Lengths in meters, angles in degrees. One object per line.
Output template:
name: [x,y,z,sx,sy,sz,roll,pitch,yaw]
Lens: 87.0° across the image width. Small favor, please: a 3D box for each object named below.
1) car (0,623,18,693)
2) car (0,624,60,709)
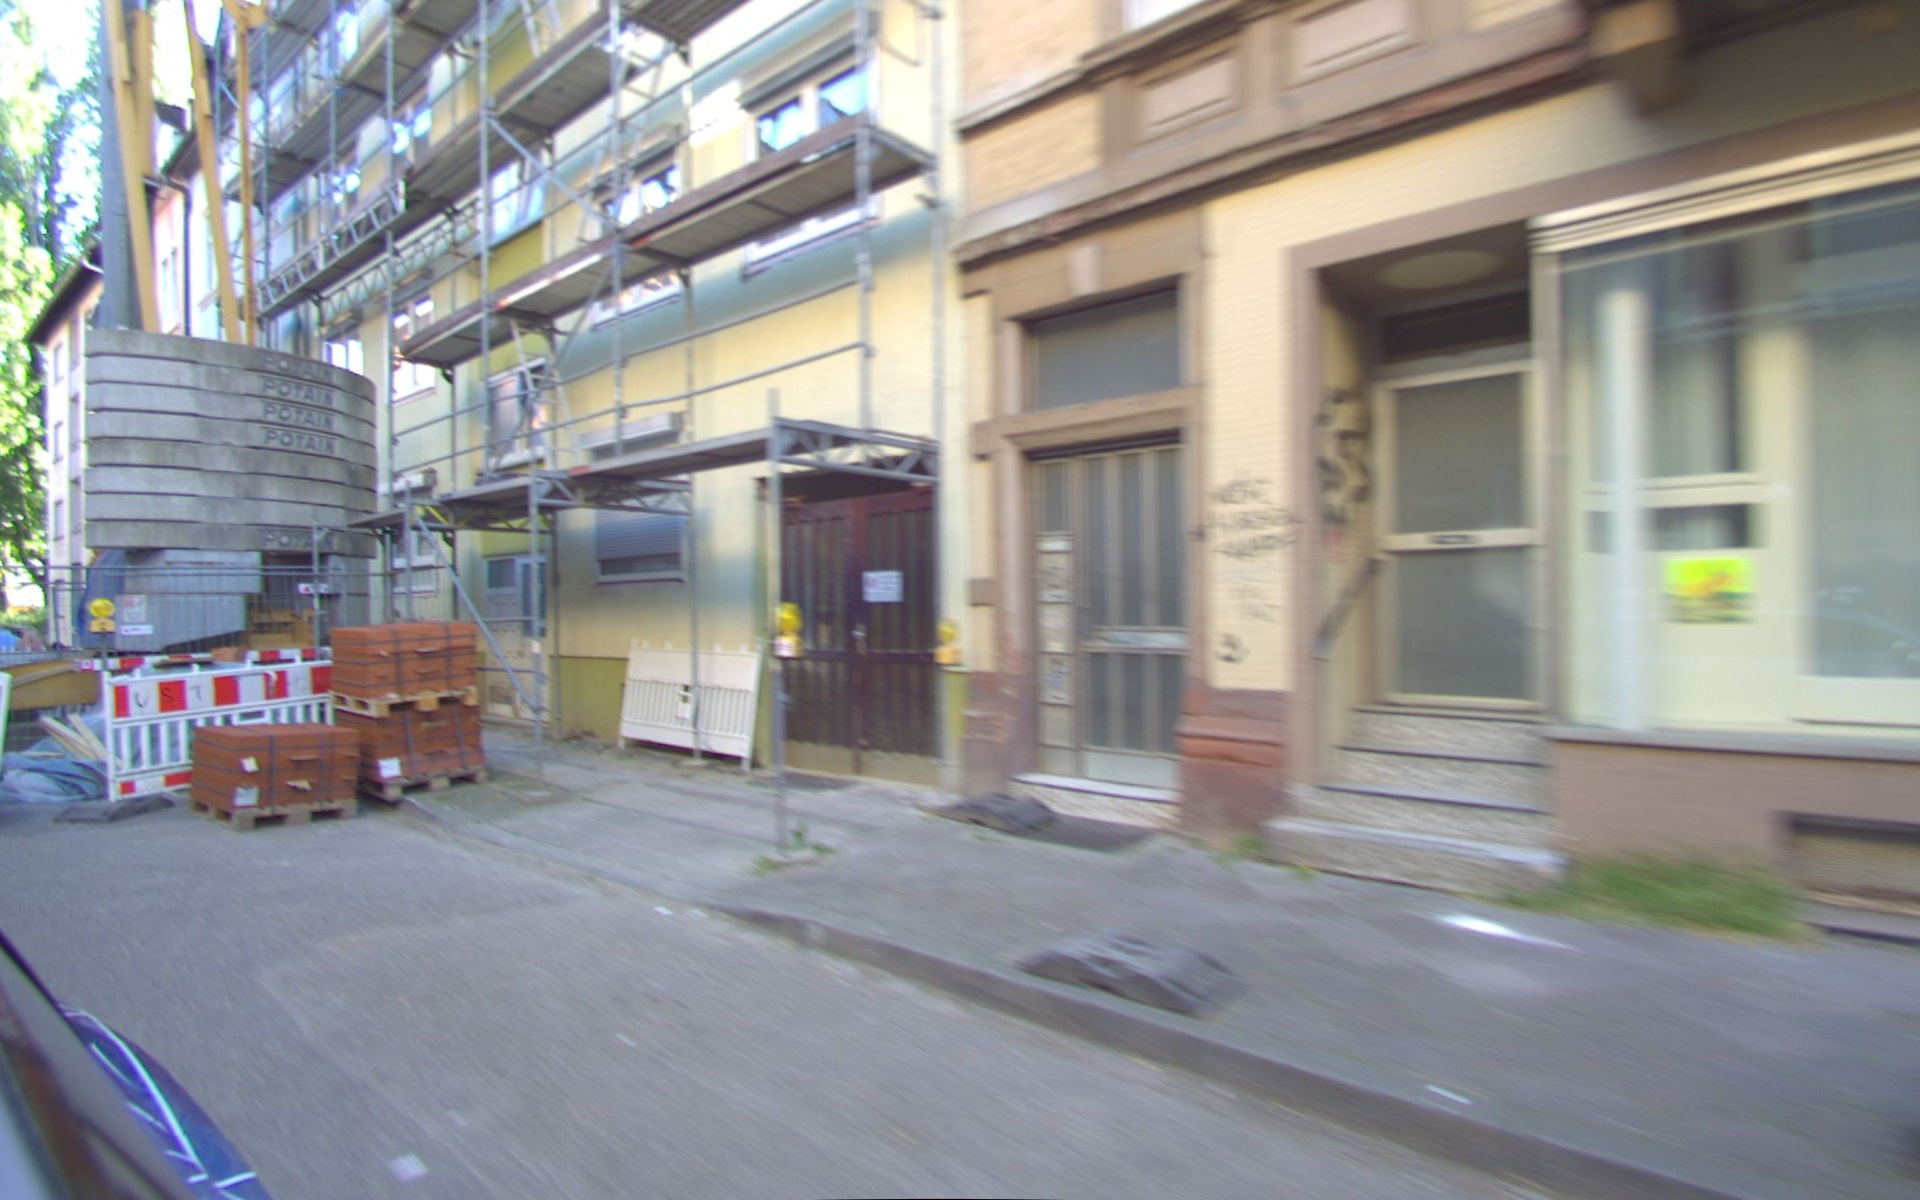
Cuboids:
car: [-22.693,1.316,22.896,3.999,1.503,1.625,-1,1,42]
car: [-18.948,1.225,19.542,4.694,1.520,1.748,-2,-4,42]
